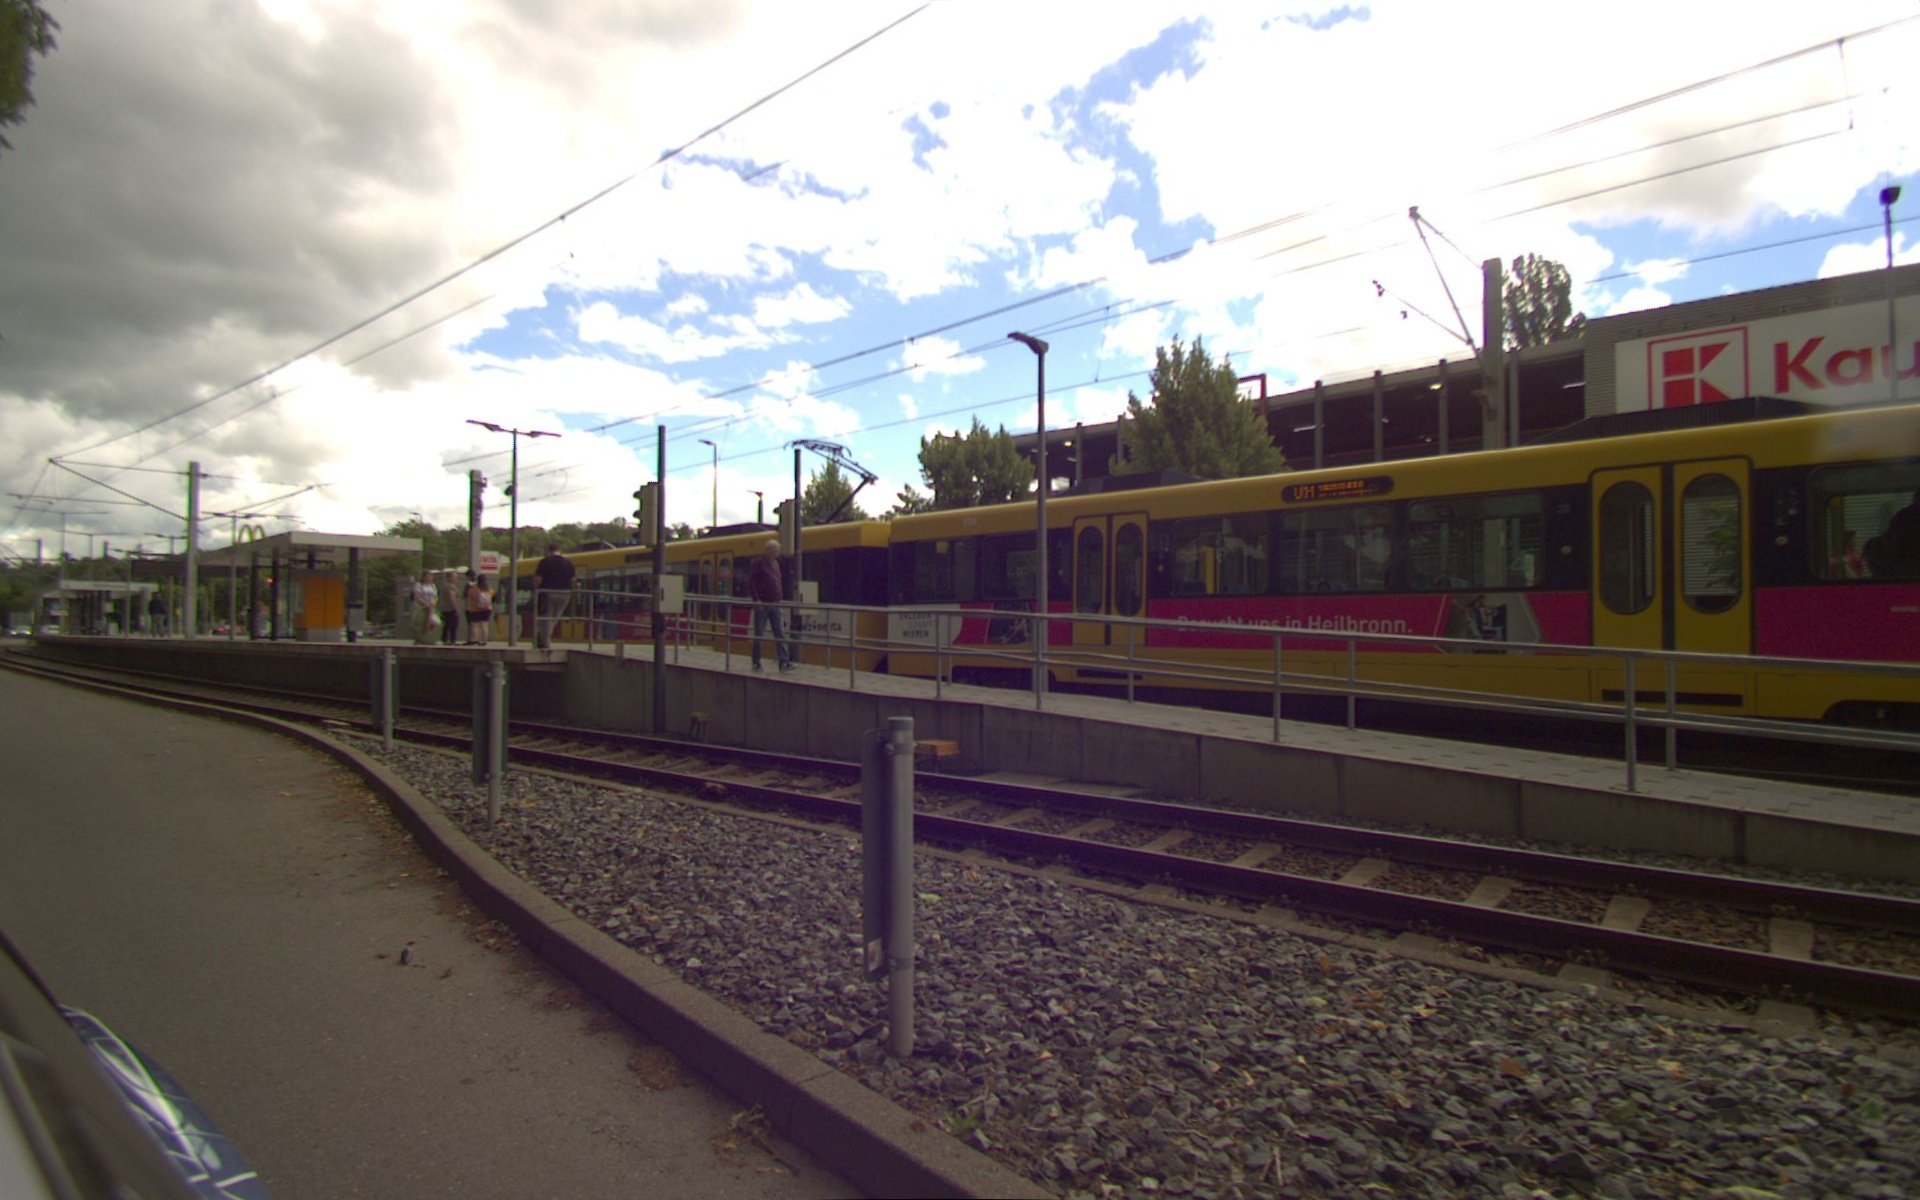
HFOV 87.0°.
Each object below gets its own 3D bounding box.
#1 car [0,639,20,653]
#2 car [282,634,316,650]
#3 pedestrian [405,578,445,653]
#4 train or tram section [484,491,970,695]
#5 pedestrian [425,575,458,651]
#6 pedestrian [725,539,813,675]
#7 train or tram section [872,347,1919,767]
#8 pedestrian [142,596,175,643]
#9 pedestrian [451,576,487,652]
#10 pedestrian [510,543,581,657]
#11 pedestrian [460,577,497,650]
[{"bbox_3d":[-110.673,5.372,117.409,1.937,1.564,4.007,3,-4,-39],"label":"car"},{"bbox_3d":[-57.958,3.664,88.747,4.030,1.360,1.595,-2,-3,43],"label":"car"},{"bbox_3d":[-10.841,0.320,20.519,0.512,1.494,0.583,1,-3,-10],"label":"pedestrian"},{"bbox_3d":[-7.467,0.051,26.784,18.634,3.912,2.726,-1,-2,44],"label":"train or tram section"},{"bbox_3d":[-10.225,0.270,19.963,0.639,1.476,0.357,-2,-3,41],"label":"pedestrian"},{"bbox_3d":[-2.477,0.115,13.122,0.790,1.691,0.763,-2,-4,42],"label":"pedestrian"},{"bbox_3d":[5.970,-0.285,13.889,18.634,3.858,2.726,-1,-2,44],"label":"train or tram section"},{"bbox_3d":[-30.337,0.754,38.305,0.936,1.757,0.741,-2,-4,42],"label":"pedestrian"},{"bbox_3d":[-9.840,0.284,20.269,0.469,1.494,0.543,3,-4,-40],"label":"pedestrian"},{"bbox_3d":[-6.380,0.018,15.610,0.734,1.691,0.877,1,-3,-5],"label":"pedestrian"},{"bbox_3d":[-9.442,0.276,19.838,0.411,1.416,0.474,-2,-4,40],"label":"pedestrian"}]
